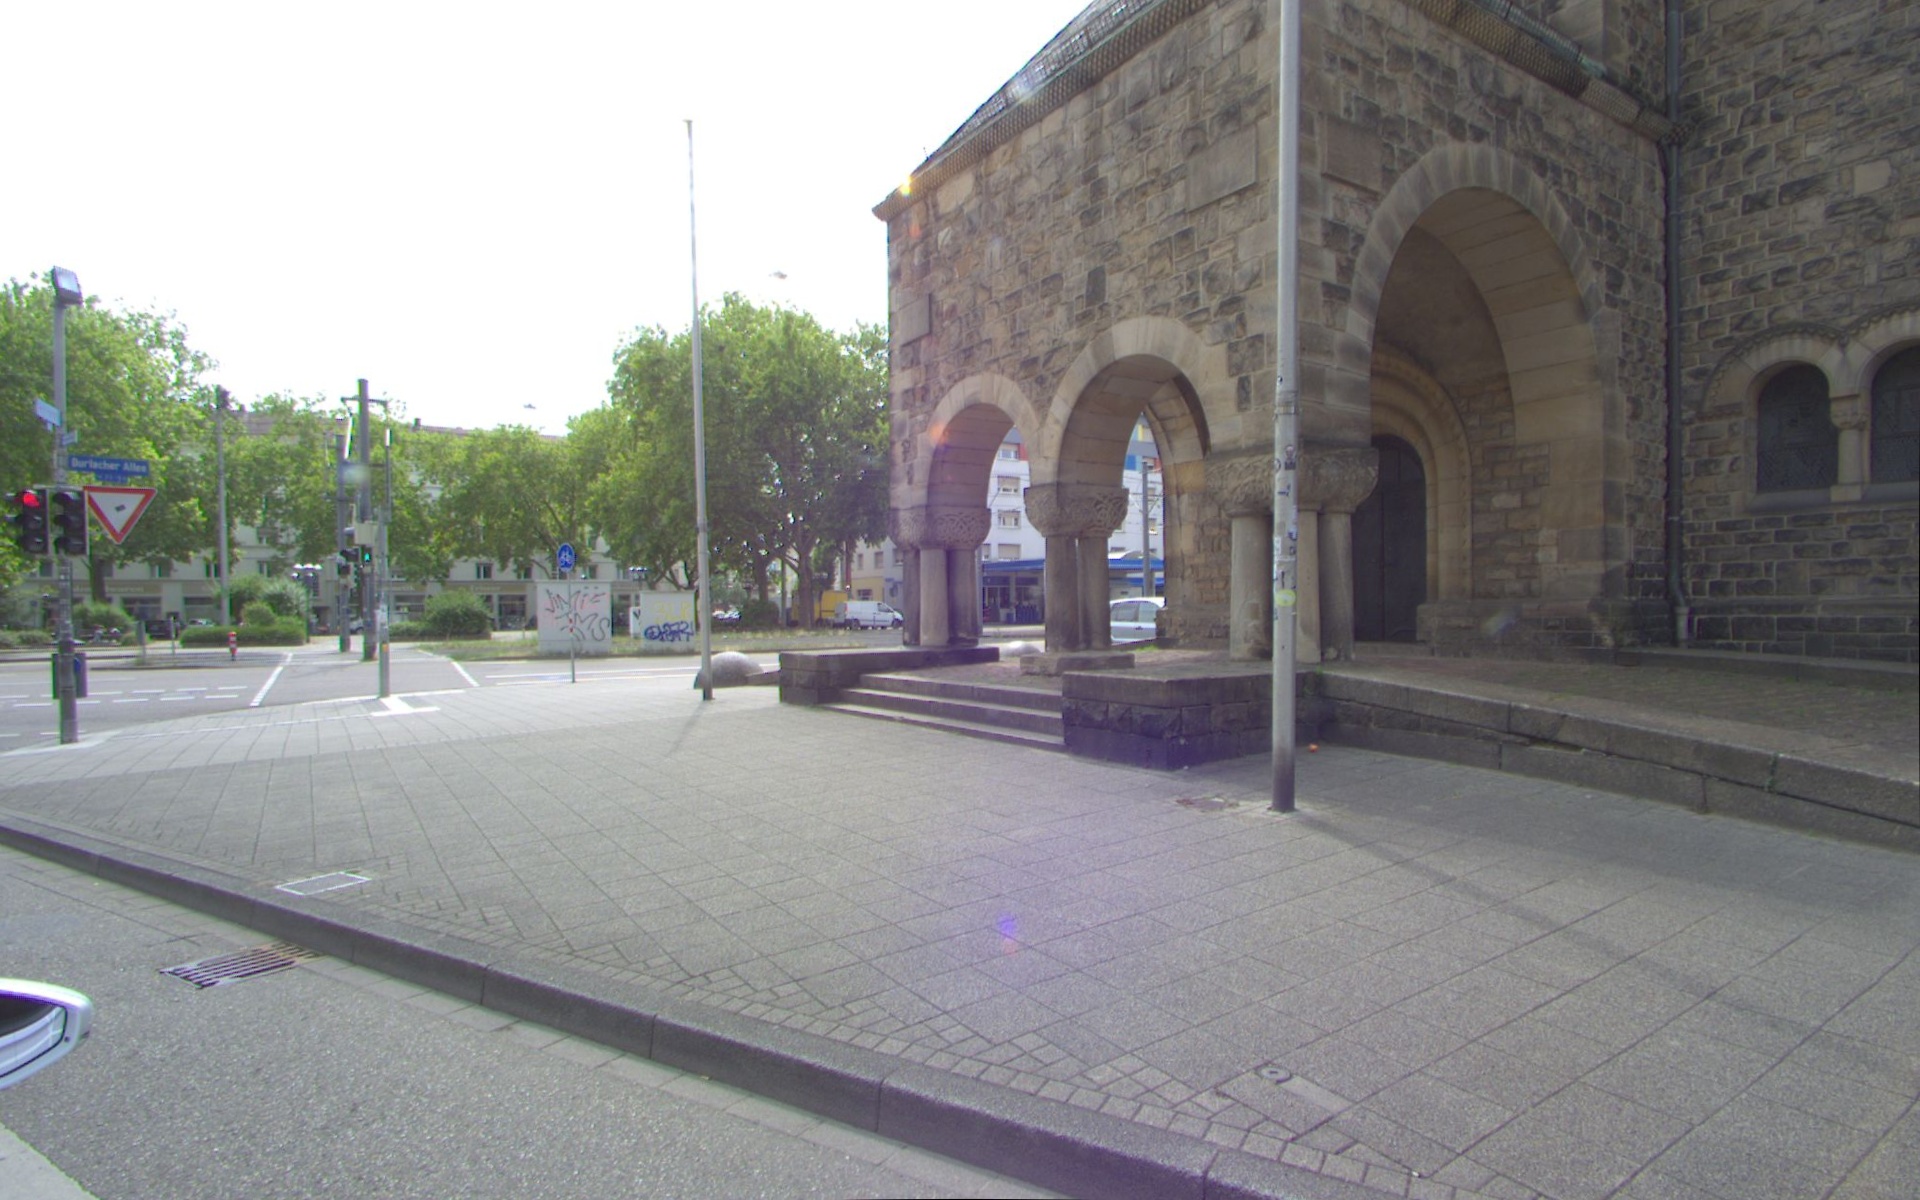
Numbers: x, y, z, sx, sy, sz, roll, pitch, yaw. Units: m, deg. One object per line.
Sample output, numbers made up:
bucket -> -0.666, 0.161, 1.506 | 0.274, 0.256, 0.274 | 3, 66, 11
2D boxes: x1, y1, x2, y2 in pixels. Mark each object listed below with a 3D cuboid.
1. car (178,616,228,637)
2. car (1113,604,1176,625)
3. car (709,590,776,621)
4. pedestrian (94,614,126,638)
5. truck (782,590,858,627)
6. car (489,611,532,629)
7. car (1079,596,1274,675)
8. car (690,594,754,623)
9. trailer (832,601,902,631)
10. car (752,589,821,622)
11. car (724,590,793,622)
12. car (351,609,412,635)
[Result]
car -> -56.962, 1.952, 75.344 | 3.949, 1.523, 1.986 | -1, 0, 37
car -> 14.046, 1.081, 76.112 | 4.554, 1.535, 1.985 | 0, -1, -31
car -> -19.199, 0.520, 88.420 | 5.269, 2.618, 2.482 | 0, -1, -36
pedestrian -> -48.037, 1.462, 56.591 | 1.422, 1.252, 1.087 | -1, 1, 37
truck -> -10.421, 0.589, 73.817 | 3.040, 2.612, 6.468 | -1, 0, -34
car -> -39.348, 1.732, 87.626 | 3.949, 1.523, 1.760 | -1, 0, 37
car -> 4.685, 0.724, 22.176 | 1.992, 1.563, 4.002 | 0, 0, -33
car -> -21.996, 0.804, 92.687 | 5.269, 2.618, 2.482 | 0, -1, -36
trailer -> -6.280, 1.033, 67.603 | 4.377, 1.951, 1.843 | 0, 0, -33
car -> -14.395, 0.492, 83.180 | 5.269, 2.618, 2.165 | 0, -1, -36
car -> -17.295, 0.515, 86.191 | 5.269, 2.618, 2.482 | 0, -1, -36
car -> -44.538, 1.658, 77.086 | 3.946, 1.908, 1.846 | -1, 0, -34
